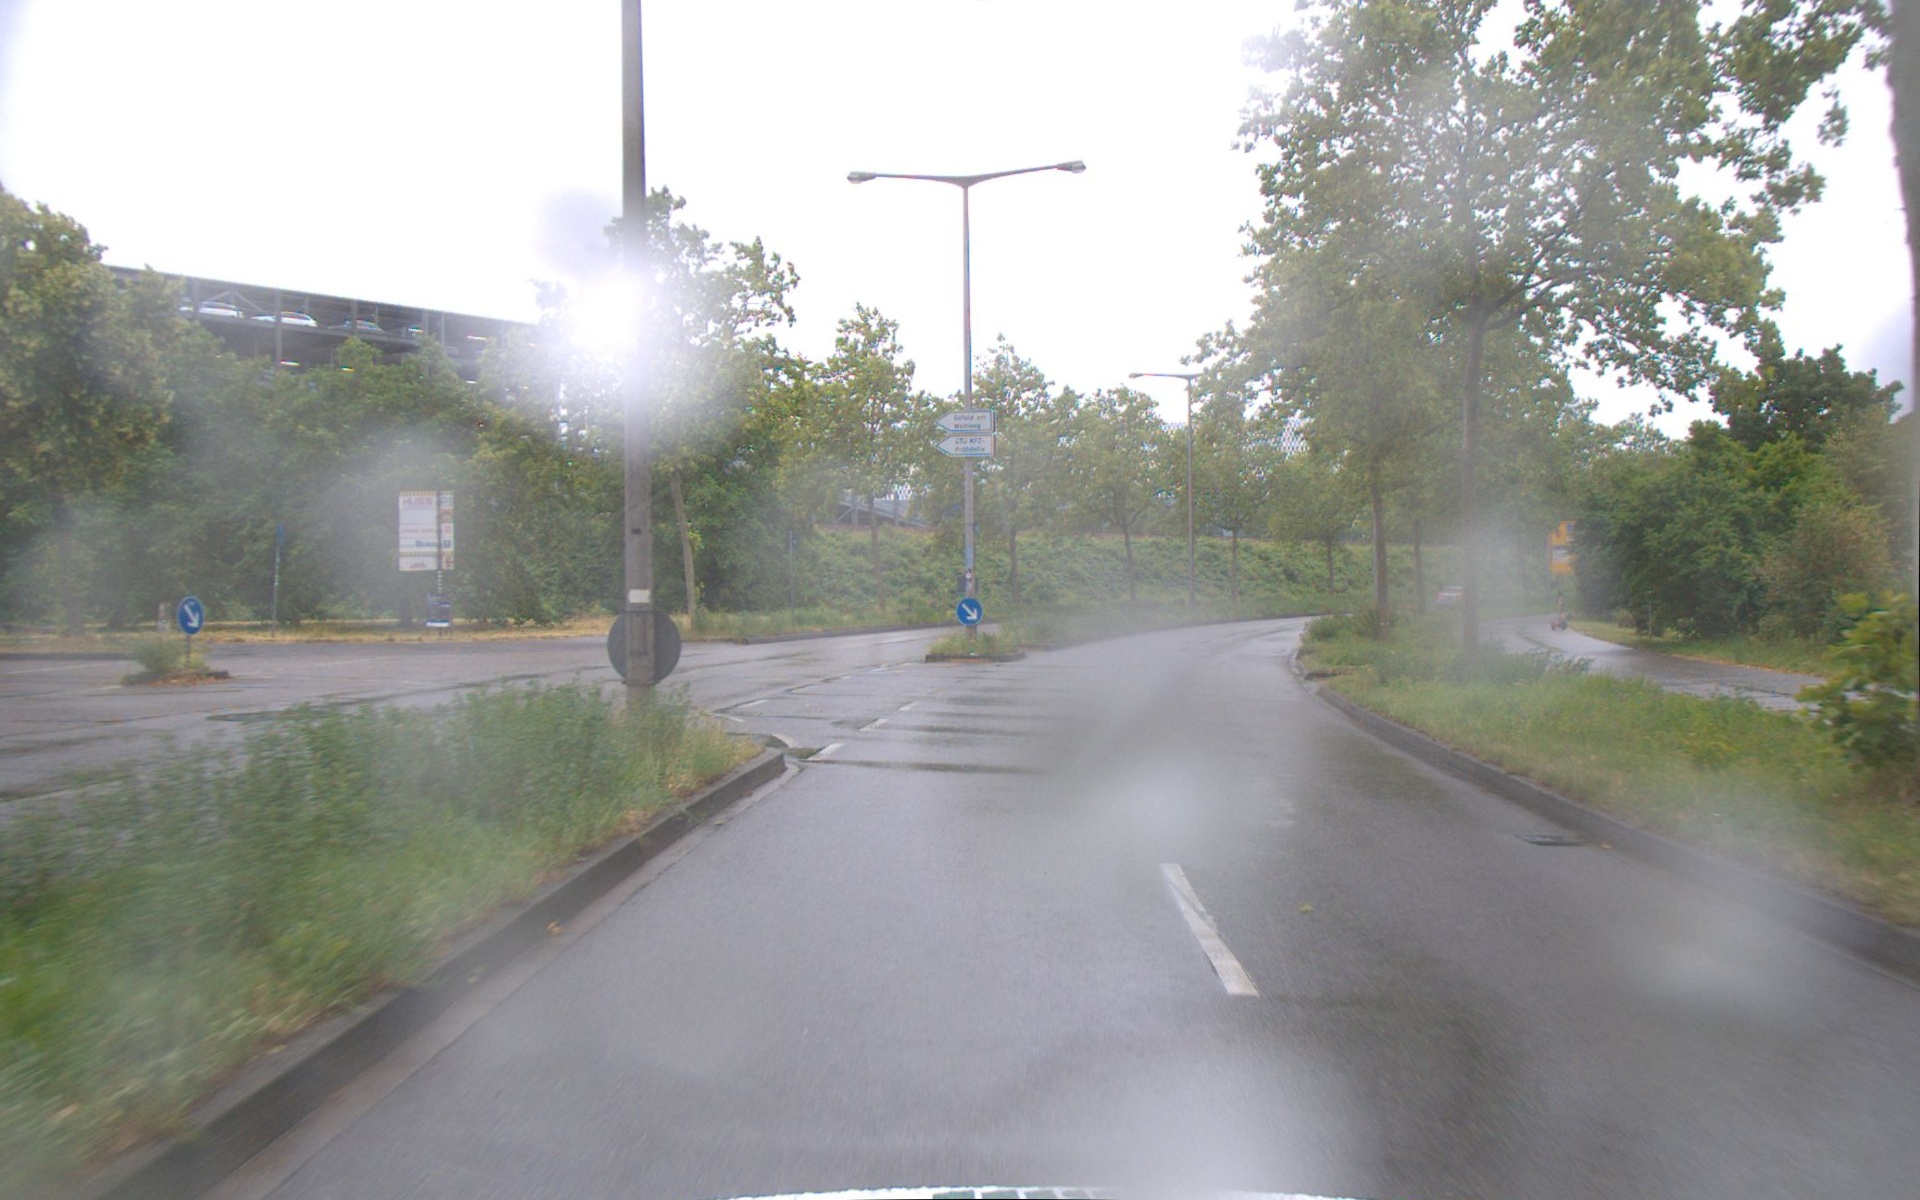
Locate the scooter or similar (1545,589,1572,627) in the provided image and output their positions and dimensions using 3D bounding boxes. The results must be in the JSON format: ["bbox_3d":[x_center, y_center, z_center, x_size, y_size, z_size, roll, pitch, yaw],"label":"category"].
[{"bbox_3d":[19.542,0.264,53.990,0.537,1.219,1.112,0,0,4],"label":"scooter or similar"}]

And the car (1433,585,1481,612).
[{"bbox_3d":[30.731,-0.095,102.260,1.748,1.582,3.989,2,1,33],"label":"car"}]
